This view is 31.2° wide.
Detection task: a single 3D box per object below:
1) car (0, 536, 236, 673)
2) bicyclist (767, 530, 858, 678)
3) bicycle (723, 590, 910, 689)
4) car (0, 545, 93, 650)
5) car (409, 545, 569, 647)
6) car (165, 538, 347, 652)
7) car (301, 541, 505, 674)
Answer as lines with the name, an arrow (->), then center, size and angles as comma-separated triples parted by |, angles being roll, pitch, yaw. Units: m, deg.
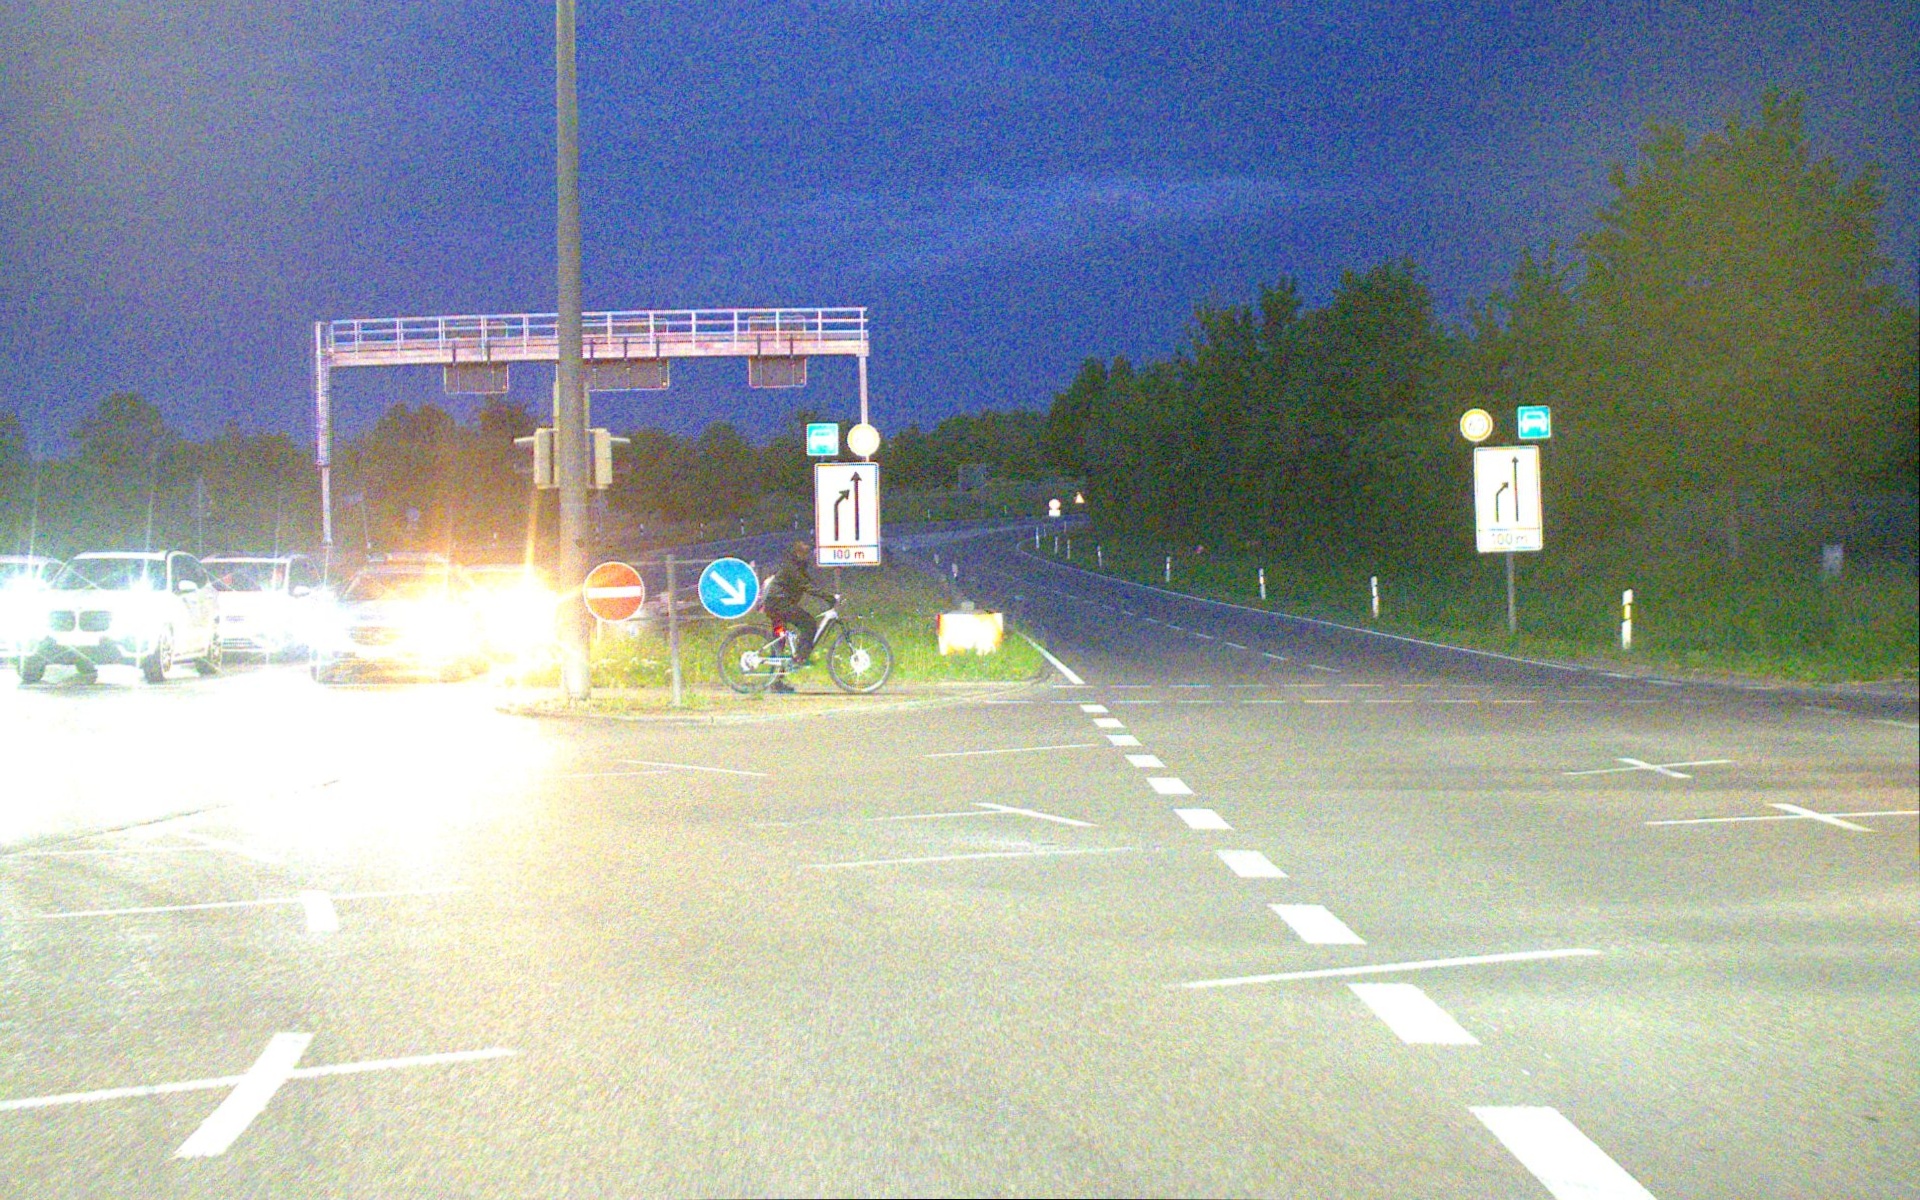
car -> -10.871, 0.013, 44.597 | 1.908, 1.676, 4.420 | 1, 1, 2
bicyclist -> -1.657, 0.045, 38.518 | 0.997, 1.645, 0.604 | 0, 0, -5
bicycle -> -1.610, 0.437, 38.511 | 2.061, 1.097, 0.695 | 0, 0, -5
car -> -14.576, -0.065, 52.054 | 1.831, 1.519, 4.000 | -1, 1, 1
car -> -7.150, -0.093, 52.523 | 1.773, 1.476, 3.910 | 1, 1, 2
car -> -10.583, -0.110, 51.932 | 1.745, 1.621, 4.363 | 0, 1, 2
car -> -7.189, 0.048, 44.820 | 1.852, 1.627, 4.585 | 0, 1, 1
